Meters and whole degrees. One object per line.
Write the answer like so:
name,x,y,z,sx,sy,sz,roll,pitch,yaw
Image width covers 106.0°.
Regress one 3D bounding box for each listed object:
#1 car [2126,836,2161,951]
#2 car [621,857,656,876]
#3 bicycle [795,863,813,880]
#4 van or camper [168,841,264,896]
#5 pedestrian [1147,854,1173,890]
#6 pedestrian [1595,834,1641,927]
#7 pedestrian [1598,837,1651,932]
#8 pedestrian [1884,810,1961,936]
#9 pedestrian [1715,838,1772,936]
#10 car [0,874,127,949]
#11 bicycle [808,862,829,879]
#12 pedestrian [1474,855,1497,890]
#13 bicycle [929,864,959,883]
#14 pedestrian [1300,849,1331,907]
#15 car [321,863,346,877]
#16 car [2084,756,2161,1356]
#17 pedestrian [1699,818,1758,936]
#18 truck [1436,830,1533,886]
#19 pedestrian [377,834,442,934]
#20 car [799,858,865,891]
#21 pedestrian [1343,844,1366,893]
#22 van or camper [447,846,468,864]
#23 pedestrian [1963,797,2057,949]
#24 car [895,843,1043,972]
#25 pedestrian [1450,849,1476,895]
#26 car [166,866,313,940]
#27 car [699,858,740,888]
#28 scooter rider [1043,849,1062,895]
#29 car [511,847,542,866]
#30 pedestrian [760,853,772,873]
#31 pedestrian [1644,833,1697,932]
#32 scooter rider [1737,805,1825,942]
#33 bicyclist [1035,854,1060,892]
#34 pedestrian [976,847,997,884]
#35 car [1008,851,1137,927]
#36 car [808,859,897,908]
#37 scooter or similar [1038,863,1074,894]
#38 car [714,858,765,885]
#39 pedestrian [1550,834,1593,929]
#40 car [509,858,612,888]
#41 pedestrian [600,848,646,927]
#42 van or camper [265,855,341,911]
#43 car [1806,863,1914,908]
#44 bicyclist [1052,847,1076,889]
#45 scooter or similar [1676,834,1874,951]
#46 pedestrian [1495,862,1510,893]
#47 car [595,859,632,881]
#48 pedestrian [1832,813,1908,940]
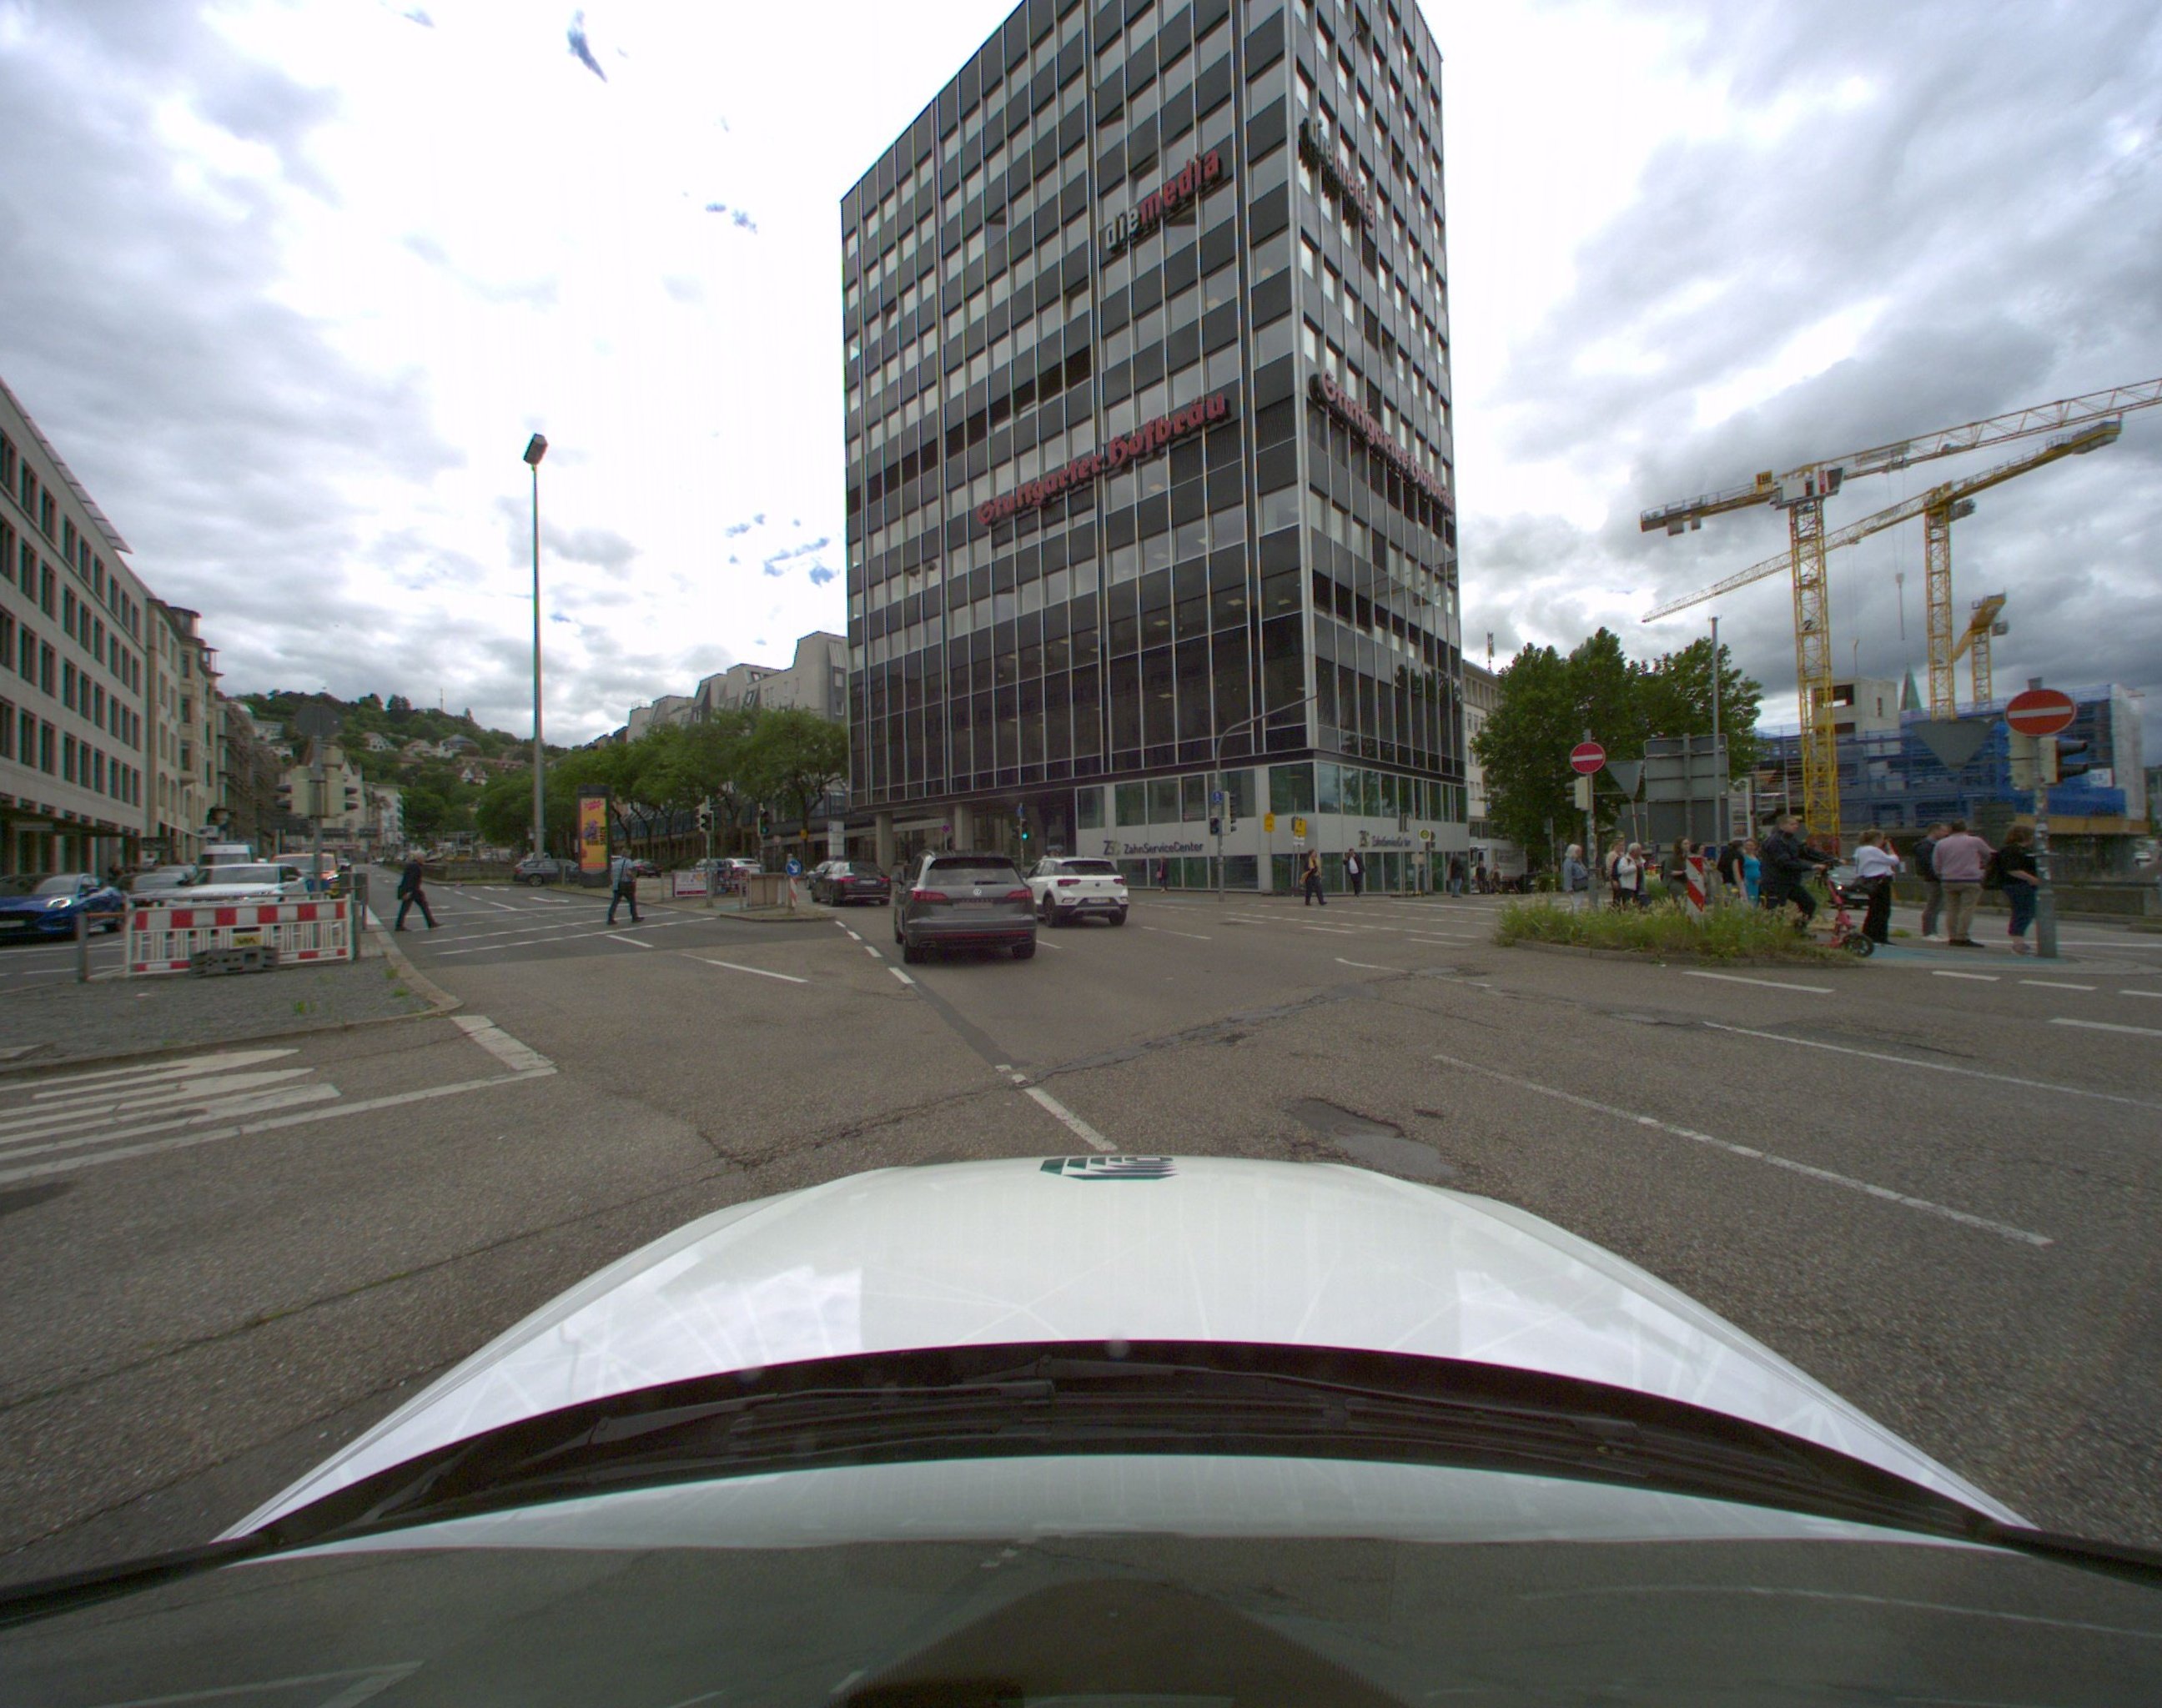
car,14.342,0.528,8.494,1.927,1.482,4.649,1,0,17
car,-34.412,0.983,63.271,1.847,1.363,3.725,-2,0,-37
bicycle,-18.982,1.160,55.758,0.494,1.132,1.821,0,0,-43
van or camper,-46.443,0.745,43.910,3.028,2.726,6.171,0,0,-42
pedestrian,3.187,0.719,32.831,0.828,1.442,0.609,-1,0,43
pedestrian,10.794,0.515,16.395,0.694,1.815,0.673,-1,-1,27
pedestrian,10.410,0.574,15.613,0.754,1.762,0.673,-1,-1,27
pedestrian,13.148,0.285,12.741,0.635,1.910,0.614,-1,-1,24
pedestrian,11.740,0.572,14.452,0.635,1.696,0.614,-1,-1,24
car,-24.006,1.263,18.758,2.011,1.525,4.043,-1,0,-41
bicycle,-18.199,1.157,56.357,1.863,1.132,0.494,-1,0,42
pedestrian,20.203,0.915,40.672,0.863,1.746,0.853,-1,0,40
bicycle,-7.664,1.076,45.569,1.467,1.048,0.718,-1,0,27
pedestrian,7.039,0.712,24.456,0.546,1.698,0.799,-1,0,-11
car,-90.085,1.910,98.165,4.485,1.527,1.936,-1,0,43
car,3.798,0.556,0.212,1.795,1.646,4.335,-2,1,1
pedestrian,11.066,0.383,13.931,0.635,1.965,0.614,-1,-1,24
truck,24.167,0.262,48.548,8.244,3.064,2.317,0,-1,-43
pedestrian,-15.009,0.658,18.210,0.753,2.172,0.884,-1,0,30
car,-12.074,0.948,39.351,1.847,1.432,4.102,1,0,-36
pedestrian,9.895,0.529,29.451,0.629,1.748,0.594,-1,0,31
van or camper,-115.439,0.228,150.716,2.650,3.178,5.733,0,0,-42
pedestrian,12.413,0.245,10.905,0.635,1.955,0.614,-1,-1,28
car,-1.973,0.698,13.207,1.972,1.695,4.206,-1,1,-13
pedestrian,14.309,0.662,30.498,0.592,1.678,0.631,0,0,-27
car,-20.931,1.127,20.456,1.747,1.598,4.272,-1,0,-35
car,-19.397,0.978,43.833,1.839,1.517,3.740,-2,0,-22
scooter rider,-1.139,0.697,32.414,0.638,1.808,0.594,-2,0,6
car,-59.576,0.272,87.465,4.809,1.874,1.849,-1,0,44
pedestrian,-27.863,0.817,72.028,0.929,1.754,0.601,-1,0,42
pedestrian,10.361,0.487,14.336,0.635,1.696,0.614,-1,-1,24
scooter rider,9.060,0.244,10.573,0.736,1.694,0.771,-1,-1,32
bicyclist,-1.368,0.777,33.727,0.836,1.549,0.568,-2,0,19
pedestrian,-4.482,0.547,38.582,0.743,1.711,0.530,-3,-1,43
car,-0.313,0.800,19.247,1.804,1.545,3.908,-2,-1,-20
car,-7.601,0.921,26.862,1.845,1.395,4.108,1,0,-30
scooter or similar,-1.004,0.985,32.402,1.312,1.176,0.594,-2,0,6
car,-20.514,1.011,48.833,1.847,1.517,3.724,-2,0,-39
pedestrian,9.890,0.545,16.440,0.694,1.862,0.673,-1,-1,27
car,-27.836,0.989,43.667,4.583,1.458,1.861,0,0,-34
pedestrian,-10.909,0.783,19.405,0.722,1.790,0.627,-5,4,-42
van or camper,-29.600,1.049,31.102,1.930,1.921,5.022,-2,1,-42
car,27.395,1.061,28.804,1.815,1.466,4.025,-1,-1,30
bicyclist,-0.768,0.630,36.624,0.804,1.846,0.679,-1,0,44
scooter or similar,8.963,0.468,10.635,1.864,1.407,0.782,-1,-1,32
pedestrian,20.839,1.152,40.283,0.511,1.534,0.557,-1,0,40
car,-34.588,1.161,60.202,1.847,1.567,3.724,-2,0,-39
pedestrian,11.615,0.319,12.012,0.635,1.797,0.614,0,0,24
